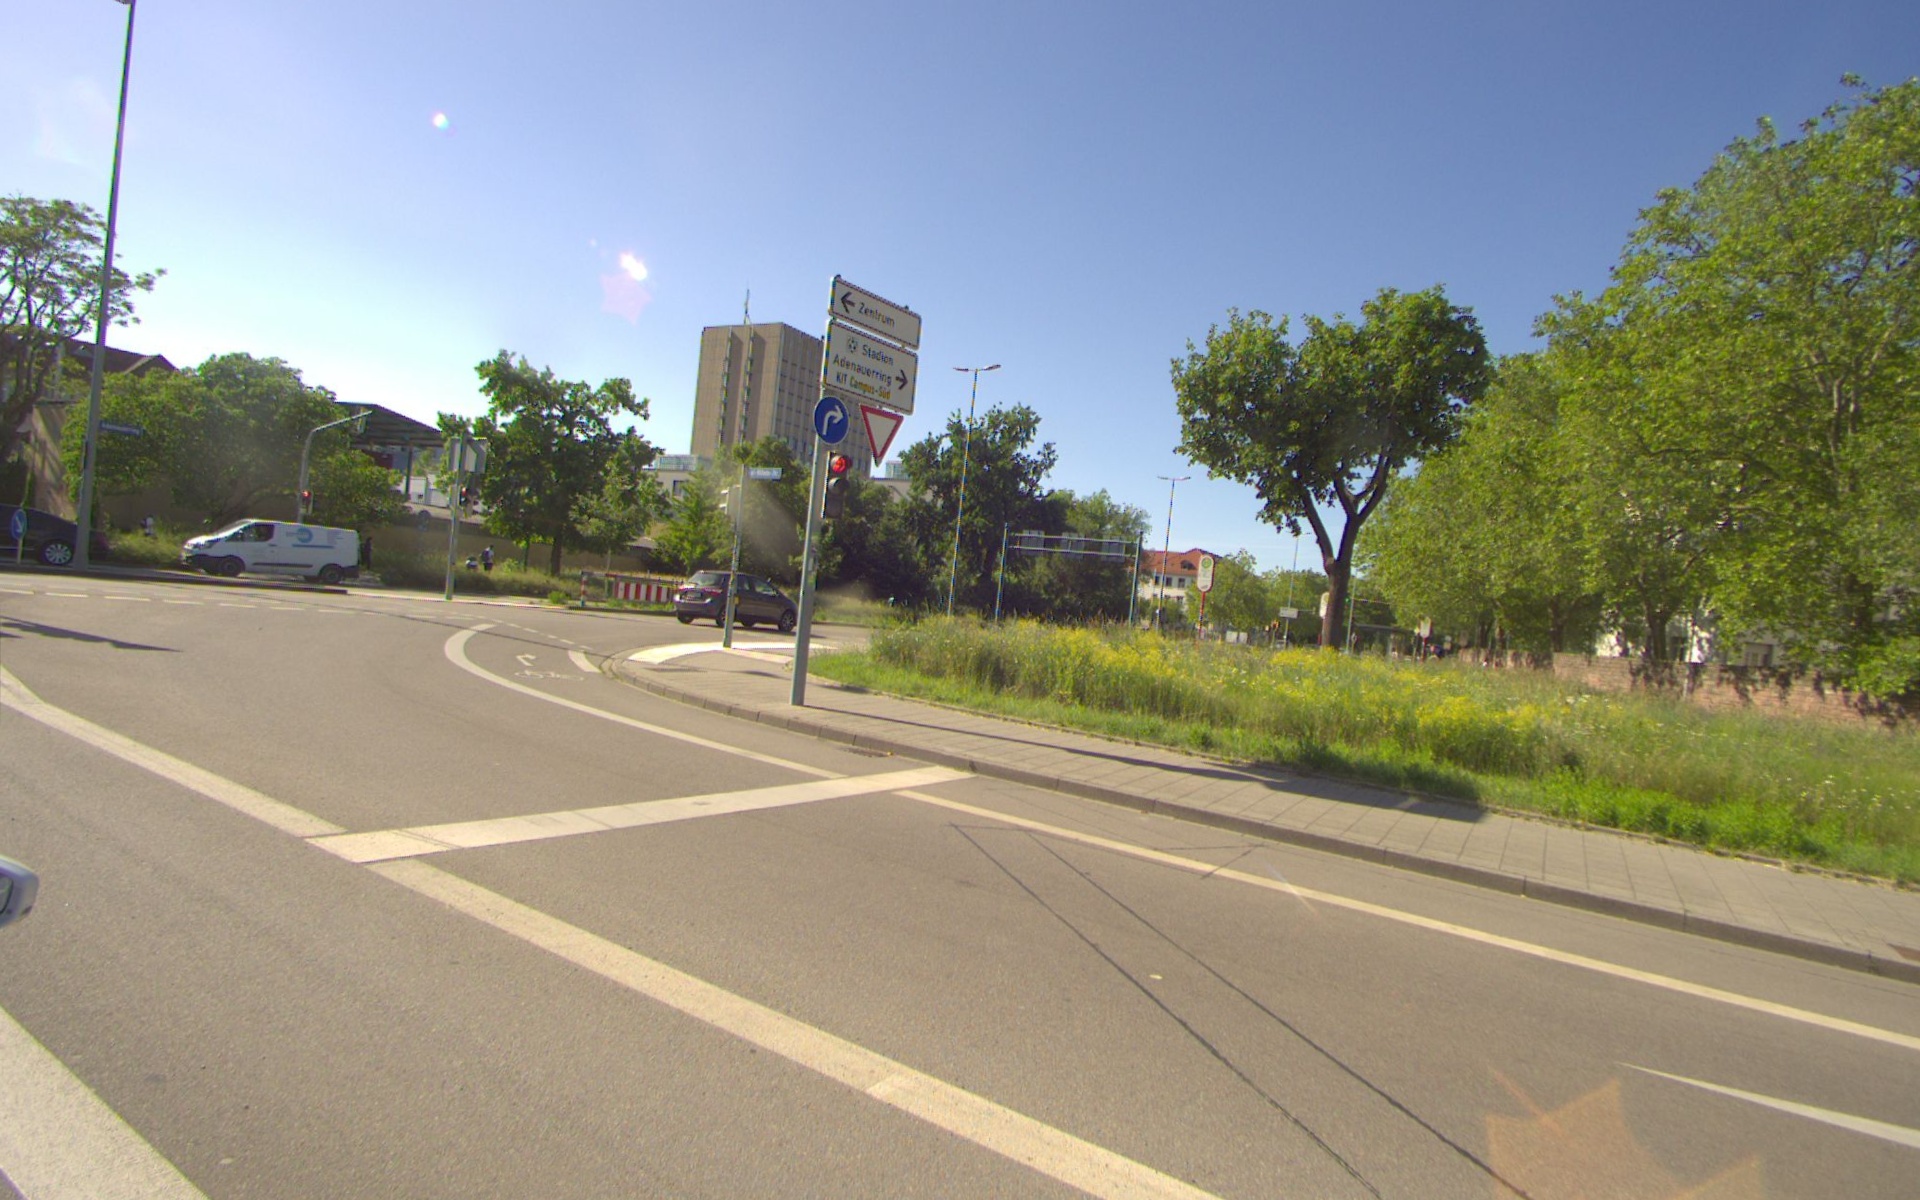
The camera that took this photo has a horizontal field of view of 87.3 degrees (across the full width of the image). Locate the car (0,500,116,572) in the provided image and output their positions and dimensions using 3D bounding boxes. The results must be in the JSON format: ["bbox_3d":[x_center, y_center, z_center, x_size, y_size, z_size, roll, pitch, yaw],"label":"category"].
[{"bbox_3d":[-25.570,-1.850,26.415,2.071,1.601,4.838,7,0,39],"label":"car"}]

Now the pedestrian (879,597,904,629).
[{"bbox_3d":[-4.851,0.914,71.301,1.065,2.106,1.231,7,1,35],"label":"pedestrian"}]

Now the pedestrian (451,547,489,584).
[{"bbox_3d":[-22.833,-1.602,46.890,0.975,1.540,1.129,7,1,35],"label":"pedestrian"}]

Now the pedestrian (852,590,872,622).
[{"bbox_3d":[-6.815,0.397,69.842,0.800,2.106,0.896,7,1,35],"label":"pedestrian"}]

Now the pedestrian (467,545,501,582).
[{"bbox_3d":[-22.015,-1.684,46.547,0.871,1.540,0.971,7,1,35],"label":"pedestrian"}]

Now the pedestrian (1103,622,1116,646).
[{"bbox_3d":[14.428,3.273,96.907,0.633,2.194,0.912,7,1,35],"label":"pedestrian"}]

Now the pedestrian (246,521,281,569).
[{"bbox_3d":[-27.800,-2.203,40.164,0.959,1.754,0.915,6,1,-40],"label":"pedestrian"}]

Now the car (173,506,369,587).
[{"bbox_3d":[-23.099,-1.749,33.902,2.042,2.038,4.994,7,0,39],"label":"car"}]

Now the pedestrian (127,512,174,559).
[{"bbox_3d":[-29.529,-2.353,36.699,0.917,1.540,1.083,7,1,41],"label":"pedestrian"}]

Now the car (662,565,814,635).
[{"bbox_3d":[-6.103,0.049,28.068,1.714,1.535,3.990,7,0,33],"label":"car"}]

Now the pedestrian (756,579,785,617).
[{"bbox_3d":[-11.298,-0.124,60.062,0.966,2.106,1.186,7,1,35],"label":"pedestrian"}]

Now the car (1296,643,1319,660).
[{"bbox_3d":[42.411,6.345,122.731,1.966,1.666,3.997,6,-2,29],"label":"car"}]

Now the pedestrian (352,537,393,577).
[{"bbox_3d":[-25.119,-1.852,43.001,0.927,1.540,1.145,7,1,38],"label":"pedestrian"}]

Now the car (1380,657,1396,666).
[{"bbox_3d":[75.862,10.907,178.217,1.966,1.378,4.001,7,0,31],"label":"car"}]
